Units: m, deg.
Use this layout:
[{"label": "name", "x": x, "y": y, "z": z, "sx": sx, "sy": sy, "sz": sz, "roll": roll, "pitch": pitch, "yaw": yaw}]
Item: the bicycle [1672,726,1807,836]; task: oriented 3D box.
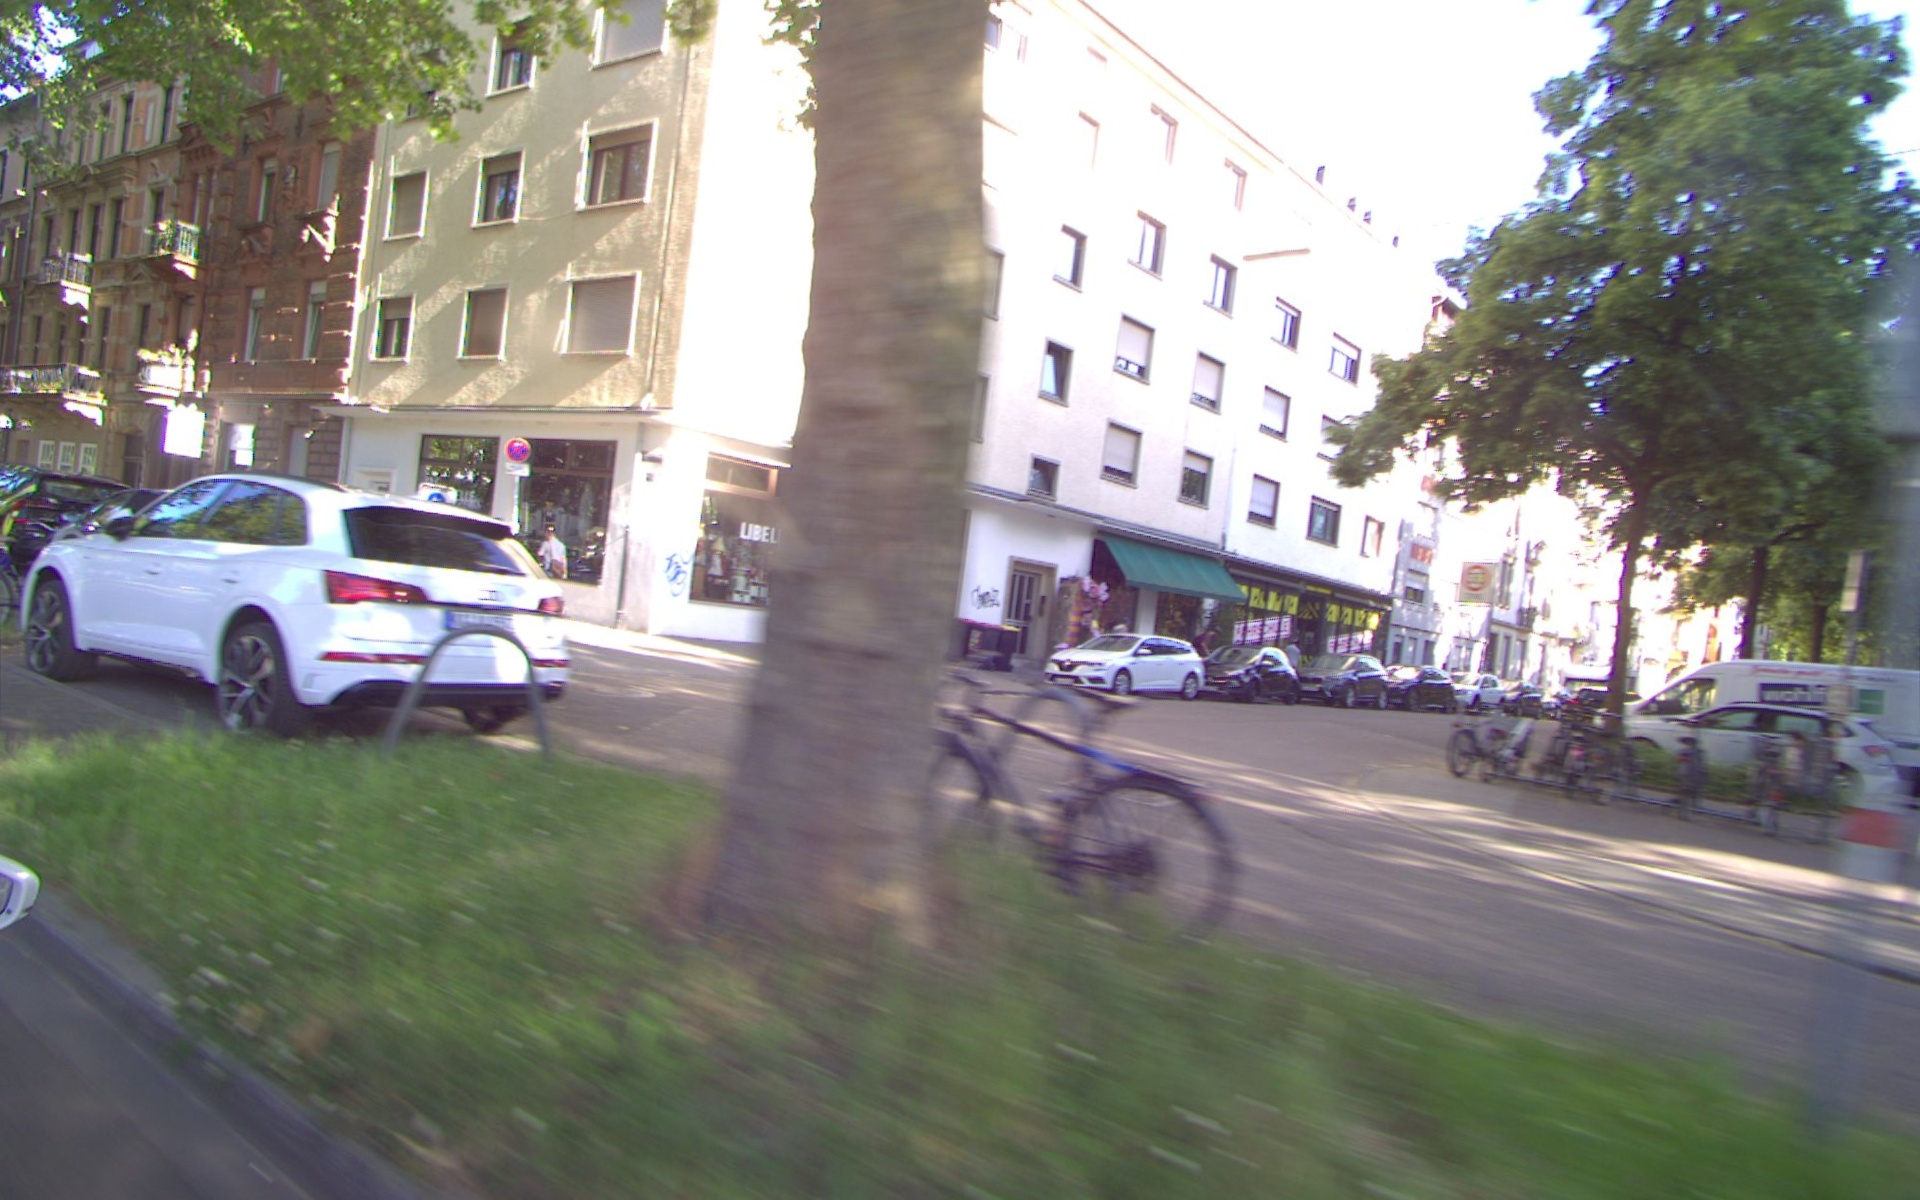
[{"label": "bicycle", "x": 9.128, "y": 2.114, "z": 11.743, "sx": 2.176, "sy": 1.117, "sz": 0.503, "roll": 8, "pitch": 0, "yaw": -34}]

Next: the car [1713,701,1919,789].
[{"label": "car", "x": 24.458, "y": 4.052, "z": 28.530, "sx": 1.988, "sy": 1.647, "sz": 4.596, "roll": 7, "pitch": 0, "yaw": -43}]

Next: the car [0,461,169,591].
[{"label": "car", "x": -13.811, "y": -1.214, "z": 15.047, "sx": 4.190, "sy": 1.549, "sz": 1.697, "roll": 8, "pitch": 1, "yaw": 32}]

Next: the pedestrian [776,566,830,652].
[{"label": "pedestrian", "x": -3.247, "y": 0.182, "z": 20.805, "sx": 0.714, "sy": 1.670, "sz": 0.590, "roll": 7, "pitch": 1, "yaw": 43}]

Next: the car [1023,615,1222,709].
[{"label": "car", "x": 3.783, "y": 1.441, "z": 22.867, "sx": 4.573, "sy": 1.600, "sz": 1.975, "roll": 8, "pitch": -1, "yaw": -44}]

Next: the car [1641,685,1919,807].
[{"label": "car", "x": 17.482, "y": 2.998, "z": 21.261, "sx": 1.988, "sy": 1.689, "sz": 4.686, "roll": 7, "pitch": 0, "yaw": -43}]

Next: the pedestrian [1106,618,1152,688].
[{"label": "pedestrian", "x": 4.286, "y": 1.348, "z": 25.504, "sx": 0.720, "sy": 1.670, "sz": 0.680, "roll": 7, "pitch": 1, "yaw": -44}]

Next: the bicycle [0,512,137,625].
[{"label": "bicycle", "x": -8.514, "y": -0.300, "z": 9.208, "sx": 0.643, "sy": 0.939, "sz": 1.761, "roll": 7, "pitch": 0, "yaw": -9}]

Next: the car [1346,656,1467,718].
[{"label": "car", "x": 14.835, "y": 2.912, "z": 33.301, "sx": 4.368, "sy": 1.555, "sz": 1.976, "roll": 8, "pitch": -1, "yaw": -43}]

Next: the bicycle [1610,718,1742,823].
[{"label": "bicycle", "x": 8.736, "y": 2.082, "z": 12.235, "sx": 2.125, "sy": 1.117, "sz": 0.503, "roll": 8, "pitch": 0, "yaw": -34}]

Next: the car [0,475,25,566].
[{"label": "car", "x": -18.764, "y": -1.688, "z": 18.090, "sx": 4.506, "sy": 1.526, "sz": 1.697, "roll": 8, "pitch": 1, "yaw": 33}]

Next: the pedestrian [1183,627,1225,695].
[{"label": "pedestrian", "x": 6.926, "y": 1.735, "z": 28.512, "sx": 0.720, "sy": 1.831, "sz": 0.680, "roll": 7, "pitch": 1, "yaw": -44}]

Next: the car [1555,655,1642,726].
[{"label": "car", "x": 31.704, "y": 4.510, "z": 49.852, "sx": 5.475, "sy": 3.022, "sz": 2.075, "roll": 8, "pitch": 0, "yaw": -43}]

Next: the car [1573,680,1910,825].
[{"label": "car", "x": 13.643, "y": 2.572, "z": 17.757, "sx": 1.988, "sy": 1.647, "sz": 4.335, "roll": 7, "pitch": 0, "yaw": -43}]

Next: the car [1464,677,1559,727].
[{"label": "car", "x": 22.340, "y": 4.154, "z": 40.679, "sx": 4.368, "sy": 1.555, "sz": 1.976, "roll": 8, "pitch": -1, "yaw": -43}]

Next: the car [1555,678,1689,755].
[{"label": "car", "x": 18.701, "y": 3.299, "z": 28.345, "sx": 4.361, "sy": 1.648, "sz": 1.975, "roll": 8, "pitch": 3, "yaw": -43}]

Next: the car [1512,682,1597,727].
[{"label": "car", "x": 26.217, "y": 4.621, "z": 44.312, "sx": 4.368, "sy": 1.555, "sz": 1.976, "roll": 8, "pitch": -1, "yaw": -43}]

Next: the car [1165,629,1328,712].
[{"label": "car", "x": 7.543, "y": 1.881, "z": 26.280, "sx": 4.368, "sy": 1.664, "sz": 1.976, "roll": 8, "pitch": -1, "yaw": -43}]

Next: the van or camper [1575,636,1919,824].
[{"label": "van or camper", "x": 15.568, "y": 2.400, "z": 19.607, "sx": 2.140, "sy": 2.668, "sz": 5.520, "roll": 7, "pitch": 0, "yaw": -43}]

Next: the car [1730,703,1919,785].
[{"label": "car", "x": 26.263, "y": 4.290, "z": 30.425, "sx": 1.988, "sy": 1.647, "sz": 4.335, "roll": 7, "pitch": 0, "yaw": -43}]

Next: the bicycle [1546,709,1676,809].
[{"label": "bicycle", "x": 8.315, "y": 2.043, "z": 12.810, "sx": 2.125, "sy": 1.117, "sz": 0.503, "roll": 8, "pitch": 0, "yaw": -34}]

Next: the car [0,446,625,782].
[{"label": "car", "x": -4.964, "y": -0.026, "z": 7.406, "sx": 4.741, "sy": 1.656, "sz": 1.907, "roll": 7, "pitch": 0, "yaw": 29}]

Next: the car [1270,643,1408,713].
[{"label": "car", "x": 11.276, "y": 2.339, "z": 29.778, "sx": 4.368, "sy": 1.555, "sz": 1.976, "roll": 8, "pitch": -1, "yaw": -43}]

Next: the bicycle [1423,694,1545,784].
[{"label": "bicycle", "x": 7.413, "y": 1.983, "z": 14.181, "sx": 2.125, "sy": 1.117, "sz": 0.468, "roll": 8, "pitch": 0, "yaw": -34}]

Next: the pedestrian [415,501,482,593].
[{"label": "pedestrian", "x": -10.358, "y": -1.066, "z": 20.372, "sx": 0.712, "sy": 1.726, "sz": 0.796, "roll": 7, "pitch": 1, "yaw": 32}]

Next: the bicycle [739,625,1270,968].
[{"label": "bicycle", "x": 0.115, "y": 0.714, "z": 4.288, "sx": 2.128, "sy": 0.936, "sz": 0.640, "roll": 7, "pitch": 0, "yaw": 32}]

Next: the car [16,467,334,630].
[{"label": "car", "x": -9.929, "y": -0.676, "z": 12.644, "sx": 4.190, "sy": 1.470, "sz": 1.716, "roll": 8, "pitch": 0, "yaw": 32}]

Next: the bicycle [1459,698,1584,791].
[{"label": "bicycle", "x": 7.694, "y": 1.995, "z": 13.743, "sx": 2.125, "sy": 1.117, "sz": 0.503, "roll": 8, "pitch": 0, "yaw": -34}]

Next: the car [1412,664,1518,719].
[{"label": "car", "x": 18.725, "y": 3.394, "z": 37.227, "sx": 4.368, "sy": 1.555, "sz": 1.976, "roll": 8, "pitch": -1, "yaw": -43}]

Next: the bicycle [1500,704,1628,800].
[{"label": "bicycle", "x": 7.999, "y": 2.022, "z": 13.276, "sx": 2.125, "sy": 1.117, "sz": 0.503, "roll": 8, "pitch": 0, "yaw": -34}]
